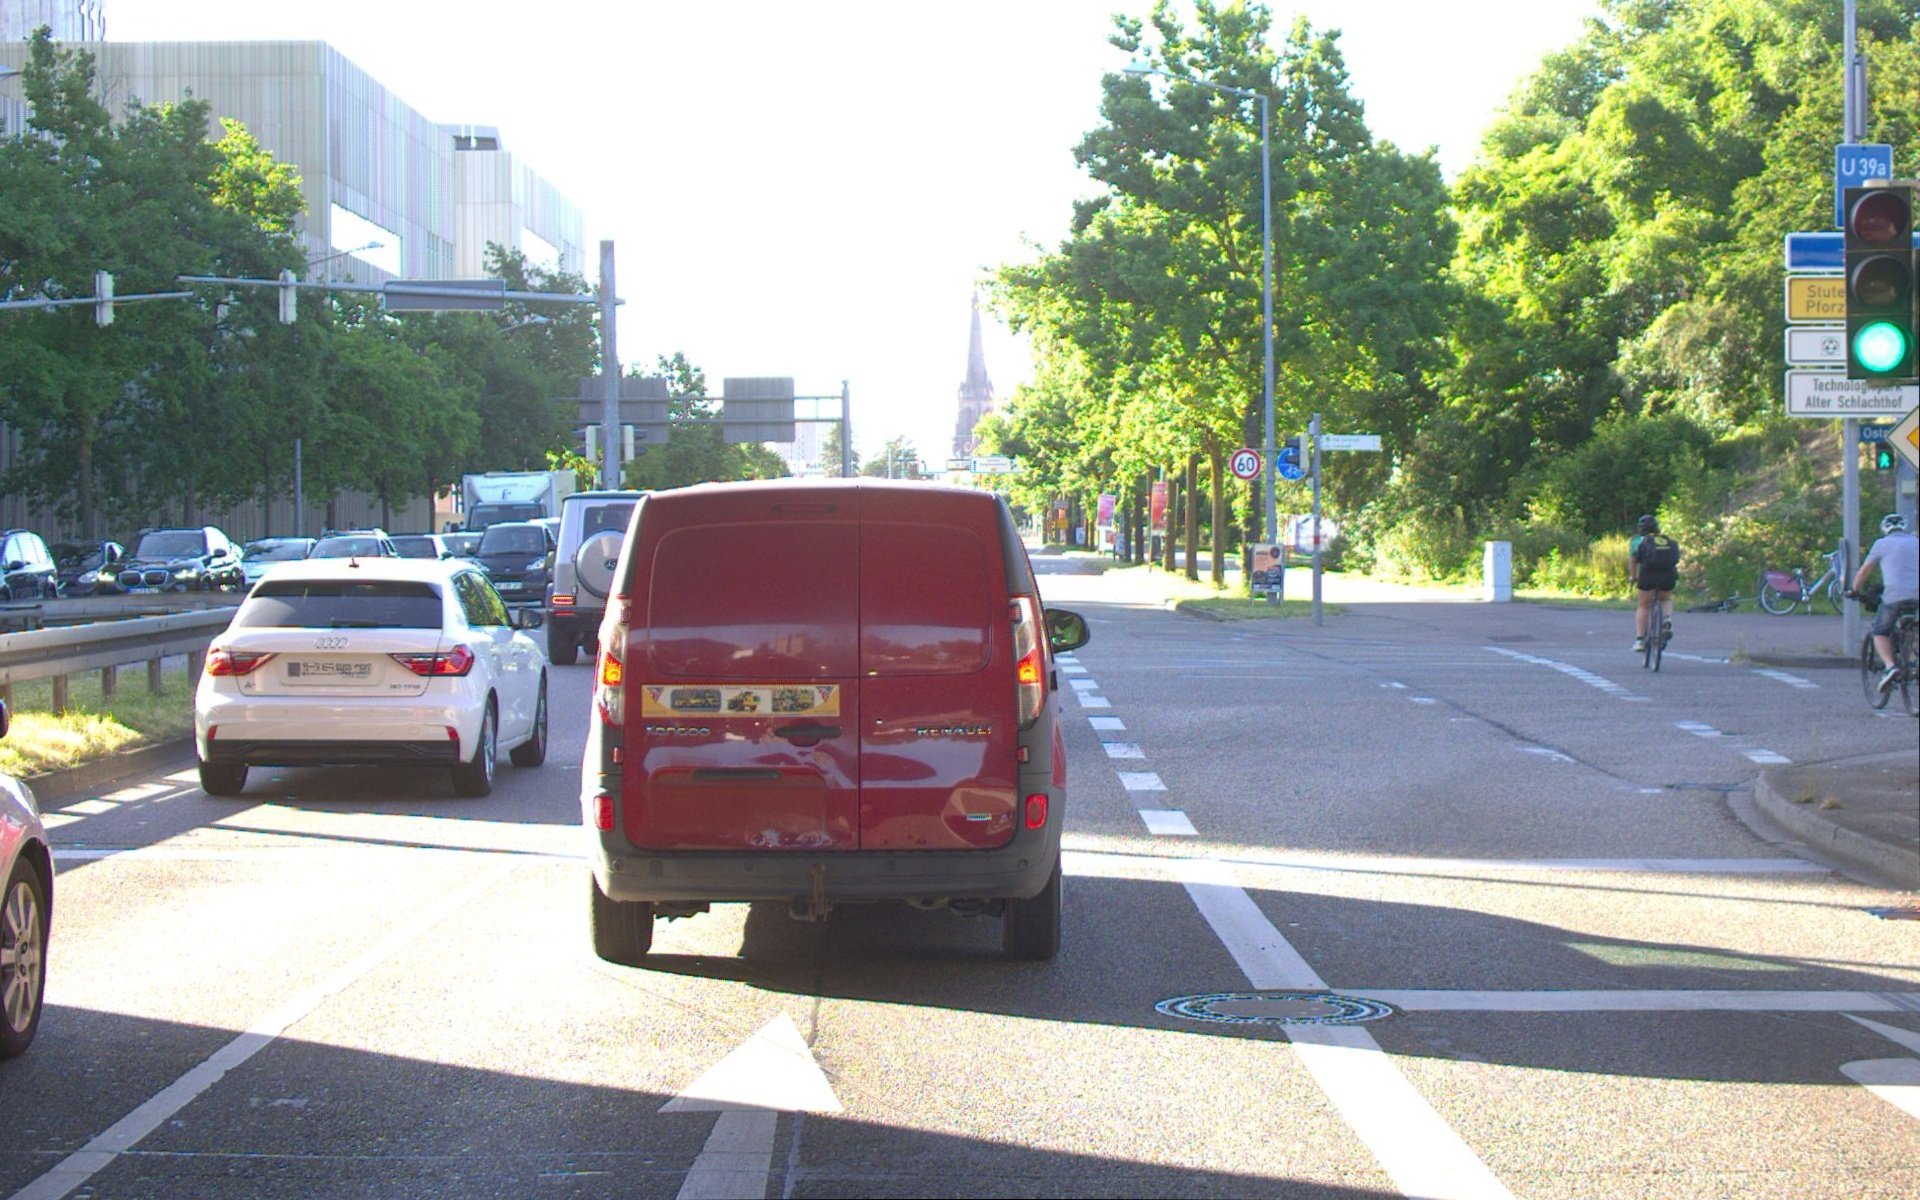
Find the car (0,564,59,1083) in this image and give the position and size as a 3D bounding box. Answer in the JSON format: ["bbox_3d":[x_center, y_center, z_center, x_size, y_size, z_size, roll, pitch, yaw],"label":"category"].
[{"bbox_3d":[-3.541,0.641,8.352,1.733,1.475,4.319,0,0,-2],"label":"car"}]

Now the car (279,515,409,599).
[{"bbox_3d":[-11.361,-0.795,63.634,1.636,1.438,4.077,-2,1,0],"label":"car"}]

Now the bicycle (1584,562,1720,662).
[{"bbox_3d":[7.233,0.126,36.011,0.591,1.020,1.751,1,0,-18],"label":"bicycle"}]

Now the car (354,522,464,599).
[{"bbox_3d":[-11.093,-0.795,69.415,1.636,1.438,4.077,-2,1,-2],"label":"car"}]

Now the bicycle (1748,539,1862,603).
[{"bbox_3d":[13.824,-0.465,56.257,1.745,1.020,0.593,1,0,8],"label":"bicycle"}]

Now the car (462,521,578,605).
[{"bbox_3d":[-8.133,-0.691,63.823,1.636,1.438,3.719,-2,1,0],"label":"car"}]

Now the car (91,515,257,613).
[{"bbox_3d":[-13.964,-0.651,61.308,1.825,1.620,4.529,-2,1,1],"label":"car"}]

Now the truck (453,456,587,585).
[{"bbox_3d":[-11.014,-1.970,86.618,2.409,3.016,6.657,-2,1,0],"label":"truck"}]

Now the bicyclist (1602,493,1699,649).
[{"bbox_3d":[7.224,-0.296,36.009,0.591,1.608,0.943,1,0,-18],"label":"bicyclist"}]

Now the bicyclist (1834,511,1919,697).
[{"bbox_3d":[7.859,0.034,29.041,0.591,1.543,0.769,1,0,-18],"label":"bicyclist"}]

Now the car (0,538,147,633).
[{"bbox_3d":[-17.386,-0.305,67.371,1.824,1.731,4.529,-2,1,-1],"label":"car"}]

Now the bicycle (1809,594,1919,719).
[{"bbox_3d":[7.884,0.465,28.921,0.591,1.020,1.751,1,0,-18],"label":"bicycle"}]

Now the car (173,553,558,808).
[{"bbox_3d":[-3.636,0.439,21.626,1.813,1.433,3.731,0,1,-1],"label":"car"}]

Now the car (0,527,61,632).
[{"bbox_3d":[-16.812,-0.323,58.436,1.824,1.731,4.629,-2,1,-1],"label":"car"}]

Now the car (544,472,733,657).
[{"bbox_3d":[-3.635,-0.373,39.607,1.801,1.982,4.589,1,0,-1],"label":"car"}]

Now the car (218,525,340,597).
[{"bbox_3d":[-14.144,-0.819,71.620,1.646,1.399,3.978,-2,1,1],"label":"car"}]

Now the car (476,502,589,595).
[{"bbox_3d":[-8.800,-1.058,70.992,1.757,1.790,4.083,-2,1,0],"label":"car"}]

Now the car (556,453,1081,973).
[{"bbox_3d":[-0.526,0.404,13.981,1.805,1.788,4.000,1,0,-1],"label":"car"}]
